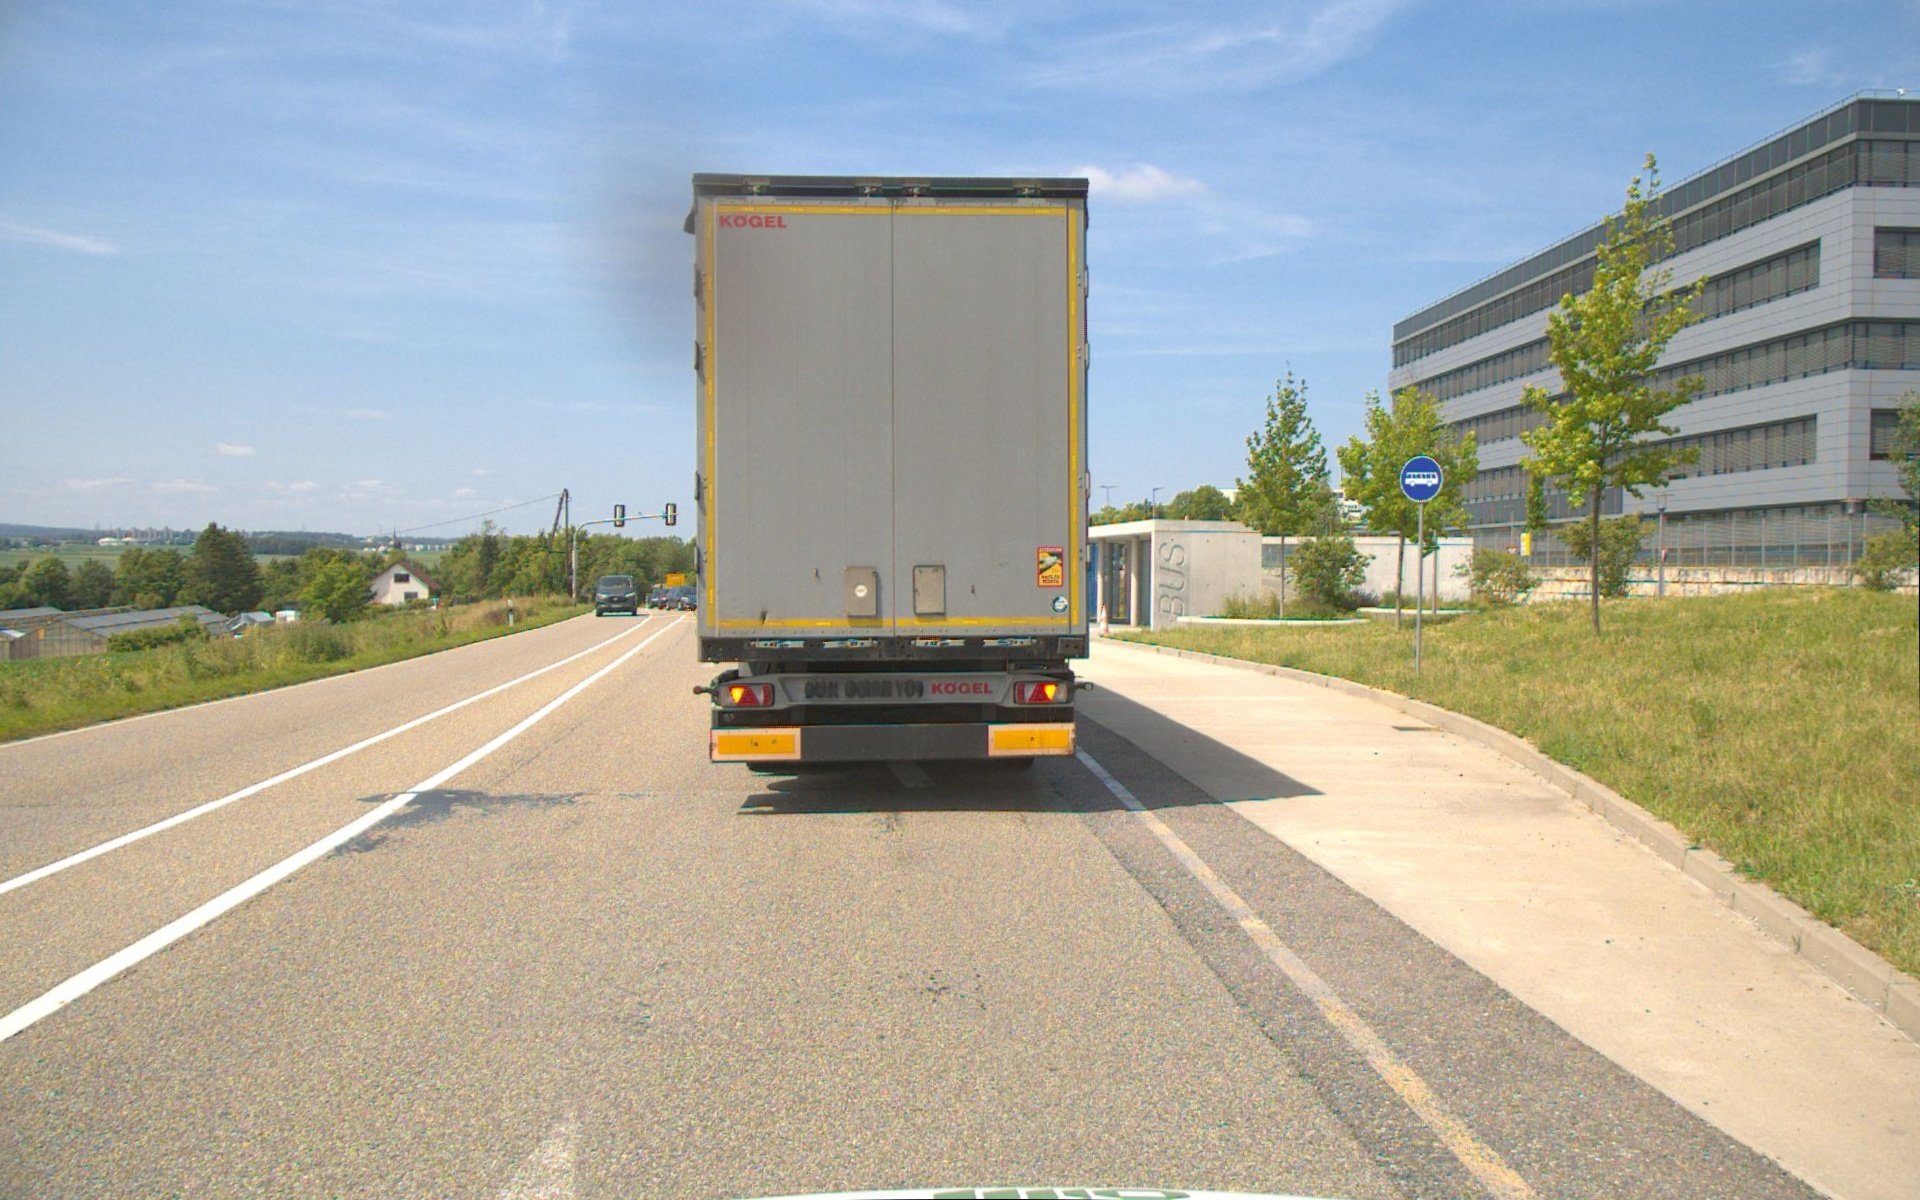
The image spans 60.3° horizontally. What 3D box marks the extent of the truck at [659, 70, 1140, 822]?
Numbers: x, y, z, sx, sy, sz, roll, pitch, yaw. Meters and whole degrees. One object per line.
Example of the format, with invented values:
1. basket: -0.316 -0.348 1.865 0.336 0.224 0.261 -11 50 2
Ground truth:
1. truck: -0.596 -0.949 14.403 2.849 4.487 8.854 1 0 -3

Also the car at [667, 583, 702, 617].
1. car: -16.908 0.006 101.811 1.956 1.984 4.494 -2 1 -8

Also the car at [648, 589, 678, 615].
1. car: -22.796 0.125 127.069 1.956 1.847 4.289 -2 1 -8

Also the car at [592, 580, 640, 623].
1. car: -17.071 0.046 82.328 1.956 2.013 5.269 -2 1 -8
